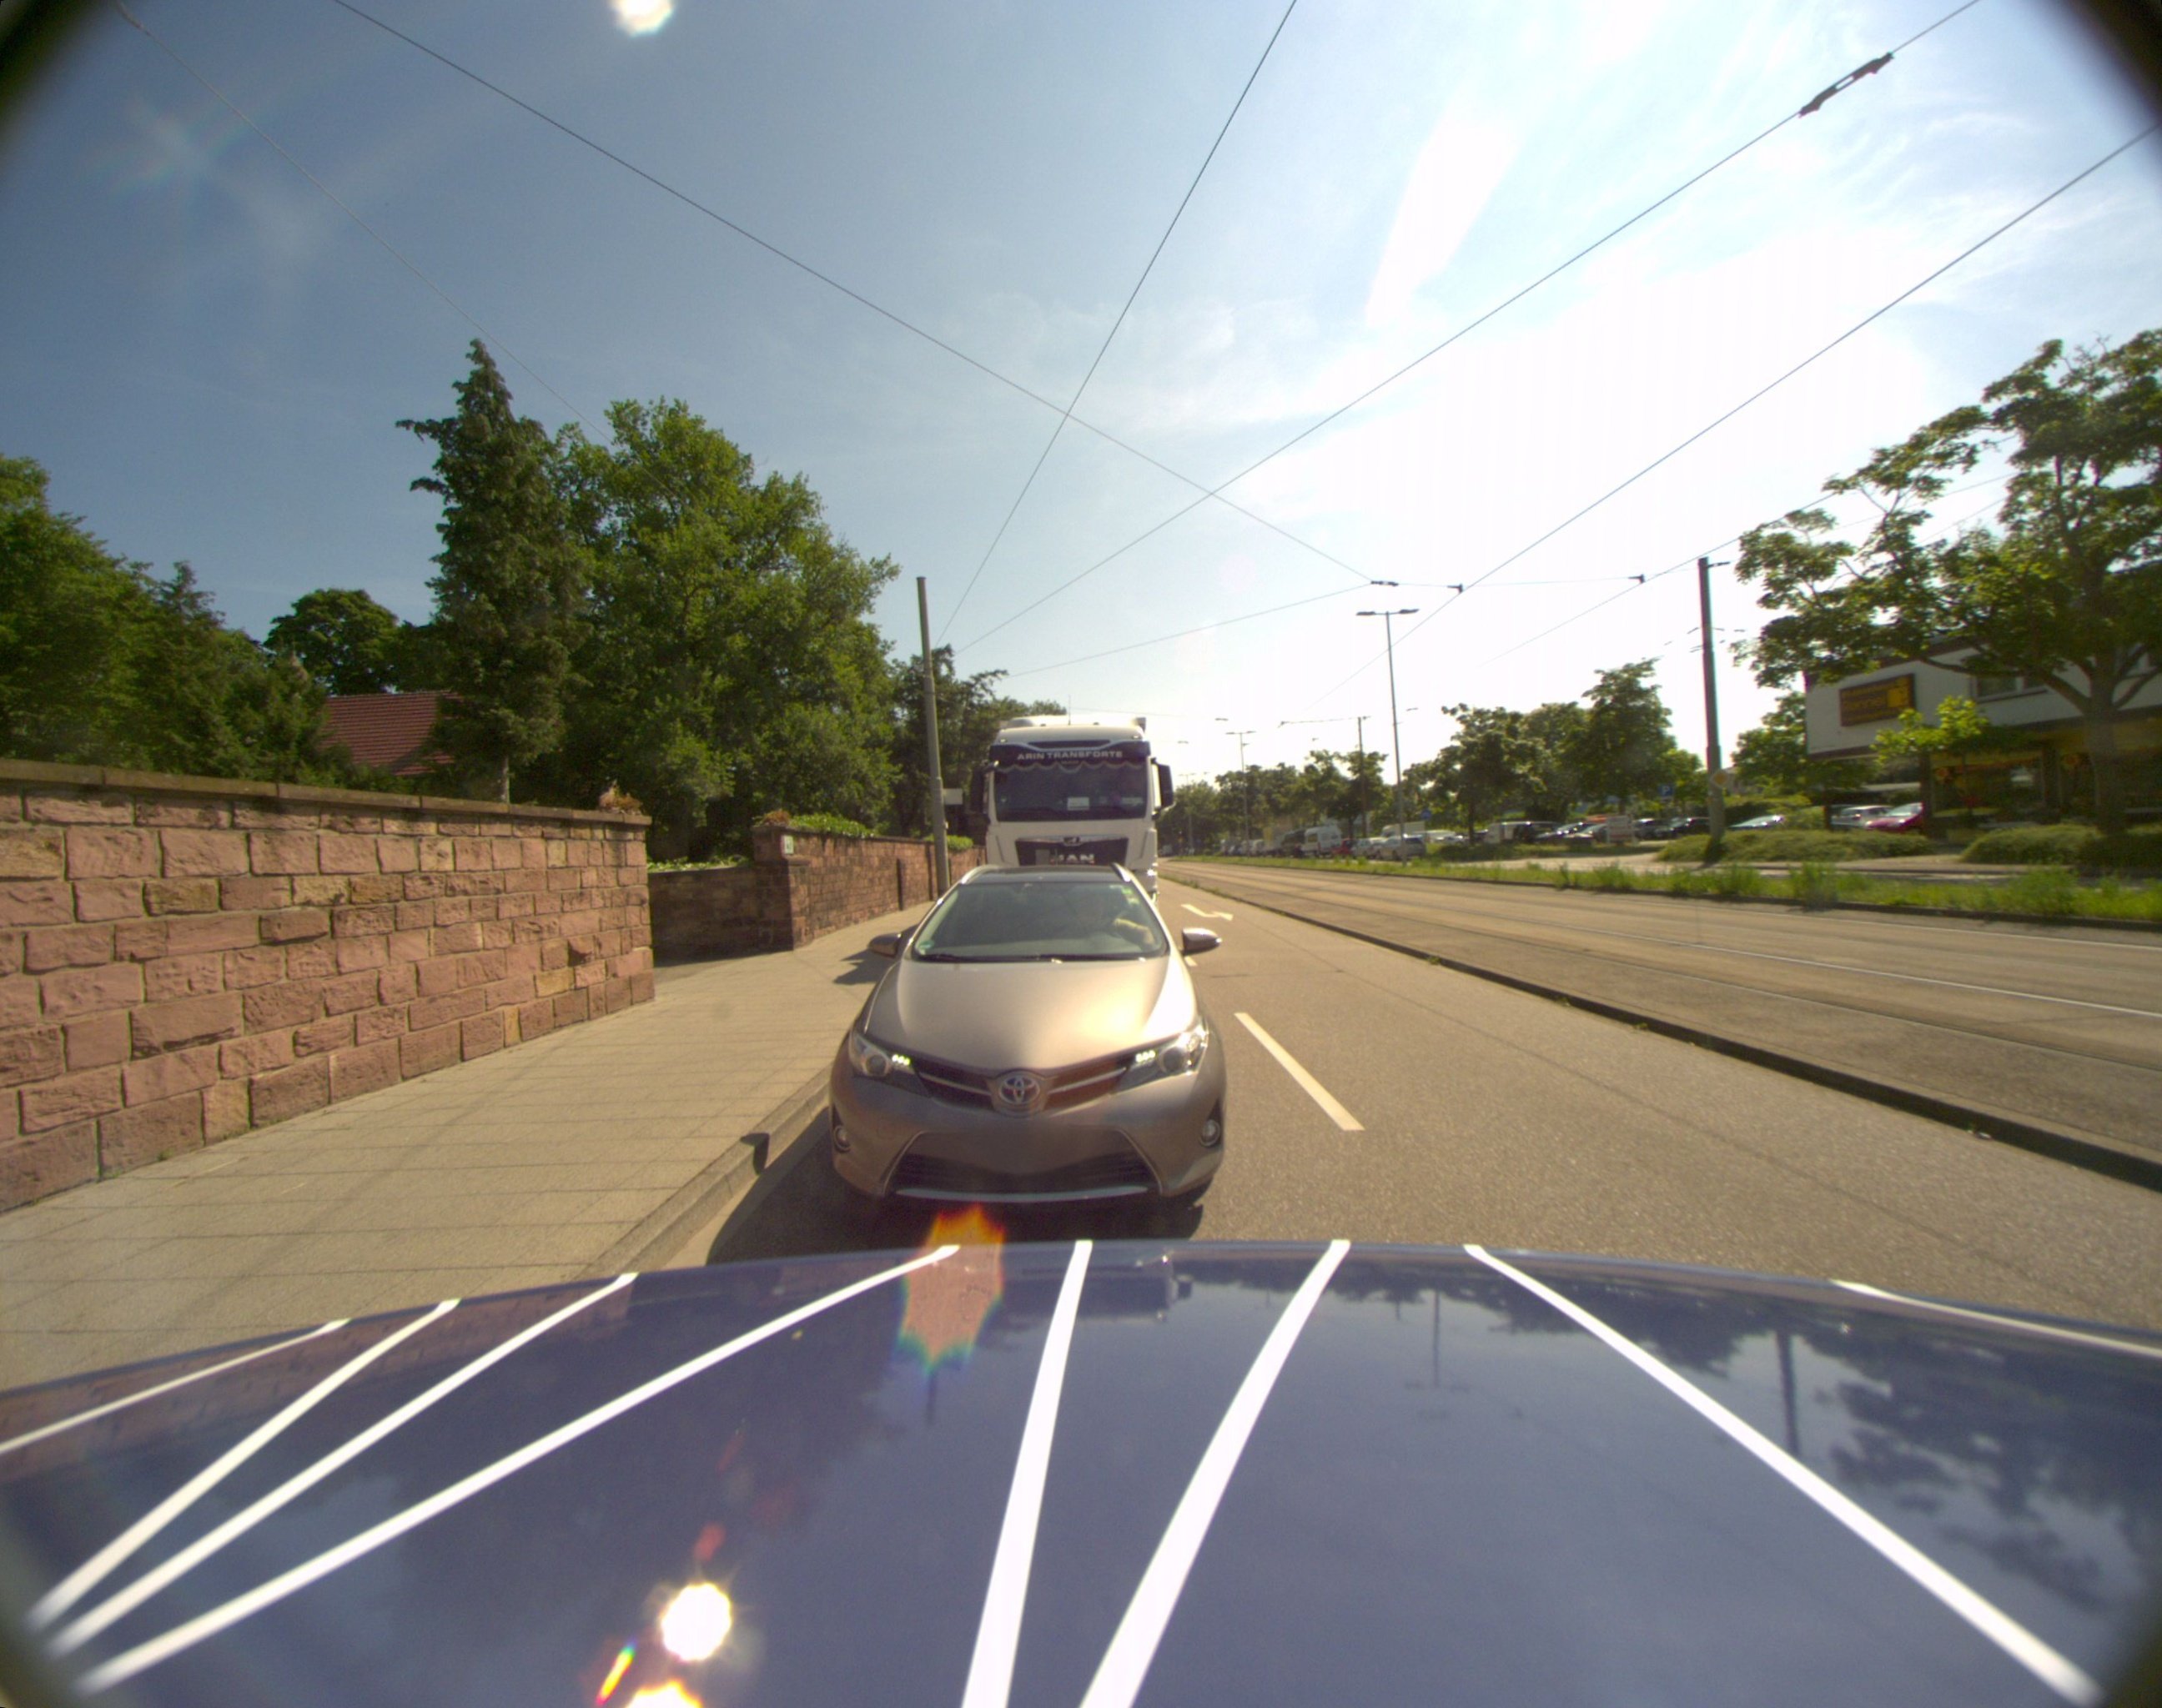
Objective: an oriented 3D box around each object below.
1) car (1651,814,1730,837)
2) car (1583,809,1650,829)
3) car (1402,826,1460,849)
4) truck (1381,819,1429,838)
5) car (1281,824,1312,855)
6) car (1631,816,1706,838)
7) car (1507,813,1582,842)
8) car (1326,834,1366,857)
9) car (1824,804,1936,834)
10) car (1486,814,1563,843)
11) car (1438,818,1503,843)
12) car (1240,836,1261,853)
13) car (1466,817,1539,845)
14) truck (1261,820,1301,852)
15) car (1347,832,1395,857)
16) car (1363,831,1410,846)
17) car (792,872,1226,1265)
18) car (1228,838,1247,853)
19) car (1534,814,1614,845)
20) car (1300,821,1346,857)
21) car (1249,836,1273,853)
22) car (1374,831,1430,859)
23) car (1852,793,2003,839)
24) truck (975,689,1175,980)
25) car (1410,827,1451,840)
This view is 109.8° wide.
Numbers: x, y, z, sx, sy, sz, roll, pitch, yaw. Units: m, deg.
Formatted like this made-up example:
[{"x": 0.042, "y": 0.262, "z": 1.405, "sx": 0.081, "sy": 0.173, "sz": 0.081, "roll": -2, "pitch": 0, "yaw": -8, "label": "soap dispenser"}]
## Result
[{"x": 44.008, "y": -2.052, "z": 54.897, "sx": 4.252, "sy": 1.327, "sz": 1.676, "roll": -3, "pitch": 0, "yaw": 2, "label": "car"}, {"x": 44.030, "y": -2.843, "z": 62.515, "sx": 4.254, "sy": 1.327, "sz": 1.676, "roll": -3, "pitch": 0, "yaw": -1, "label": "car"}, {"x": 31.162, "y": -1.396, "z": 67.879, "sx": 2.594, "sy": 1.800, "sz": 5.741, "roll": -3, "pitch": 0, "yaw": 2, "label": "car"}, {"x": 44.786, "y": -3.518, "z": 105.101, "sx": 5.652, "sy": 2.367, "sz": 1.990, "roll": -3, "pitch": 1, "yaw": -2, "label": "truck"}, {"x": 19.902, "y": -1.286, "z": 70.364, "sx": 1.502, "sy": 2.609, "sz": 4.007, "roll": -6, "pitch": 0, "yaw": 1, "label": "car"}, {"x": 44.344, "y": -2.031, "z": 57.372, "sx": 4.252, "sy": 1.327, "sz": 1.676, "roll": -3, "pitch": 0, "yaw": 2, "label": "car"}, {"x": 30.574, "y": -1.711, "z": 50.162, "sx": 3.810, "sy": 1.625, "sz": 1.676, "roll": -3, "pitch": 1, "yaw": 2, "label": "car"}, {"x": 20.472, "y": -0.646, "z": 58.754, "sx": 1.675, "sy": 1.524, "sz": 3.793, "roll": -6, "pitch": 0, "yaw": 1, "label": "car"}, {"x": 44.199, "y": -1.906, "z": 42.086, "sx": 4.252, "sy": 1.327, "sz": 1.676, "roll": -3, "pitch": 0, "yaw": 2, "label": "car"}, {"x": 30.689, "y": -1.766, "z": 52.667, "sx": 4.117, "sy": 1.728, "sz": 1.990, "roll": -3, "pitch": 1, "yaw": -2, "label": "car"}, {"x": 31.226, "y": -1.843, "z": 60.976, "sx": 4.117, "sy": 1.728, "sz": 1.990, "roll": -3, "pitch": 1, "yaw": -2, "label": "car"}, {"x": 20.958, "y": -1.140, "z": 94.218, "sx": 1.502, "sy": 1.835, "sz": 4.059, "roll": -6, "pitch": 0, "yaw": 0, "label": "car"}, {"x": 30.528, "y": -1.679, "z": 55.138, "sx": 4.117, "sy": 1.728, "sz": 1.990, "roll": -3, "pitch": 1, "yaw": -2, "label": "car"}, {"x": 20.628, "y": -1.802, "z": 78.769, "sx": 2.508, "sy": 2.917, "sz": 5.903, "roll": -6, "pitch": 0, "yaw": 2, "label": "truck"}, {"x": 20.441, "y": -0.623, "z": 53.656, "sx": 1.675, "sy": 1.524, "sz": 4.256, "roll": -6, "pitch": 0, "yaw": 1, "label": "car"}, {"x": 32.309, "y": -1.588, "z": 80.396, "sx": 4.253, "sy": 1.327, "sz": 1.676, "roll": -3, "pitch": 0, "yaw": 1, "label": "car"}, {"x": -0.262, "y": 0.893, "z": 4.973, "sx": 1.654, "sy": 1.374, "sz": 4.000, "roll": -2, "pitch": 0, "yaw": 0, "label": "car"}, {"x": 20.613, "y": -1.083, "z": 100.070, "sx": 1.502, "sy": 1.775, "sz": 3.687, "roll": -6, "pitch": 0, "yaw": 0, "label": "car"}, {"x": 30.515, "y": -1.501, "z": 47.116, "sx": 3.810, "sy": 1.625, "sz": 1.676, "roll": -3, "pitch": 1, "yaw": 2, "label": "car"}, {"x": 20.276, "y": -1.221, "z": 63.988, "sx": 2.062, "sy": 2.638, "sz": 5.203, "roll": -6, "pitch": 0, "yaw": 1, "label": "car"}, {"x": 20.646, "y": -1.045, "z": 87.350, "sx": 1.502, "sy": 1.793, "sz": 4.633, "roll": -6, "pitch": 0, "yaw": 1, "label": "car"}, {"x": 20.283, "y": -0.532, "z": 48.168, "sx": 1.675, "sy": 1.524, "sz": 4.256, "roll": -6, "pitch": 0, "yaw": 1, "label": "car"}, {"x": 35.263, "y": -1.543, "z": 31.728, "sx": 4.252, "sy": 1.595, "sz": 1.676, "roll": -3, "pitch": 1, "yaw": 2, "label": "car"}, {"x": 0.013, "y": -0.314, "z": 15.039, "sx": 2.628, "sy": 3.906, "sz": 9.285, "roll": -2, "pitch": 1, "yaw": 1, "label": "truck"}, {"x": 43.728, "y": -2.616, "z": 95.109, "sx": 4.253, "sy": 1.327, "sz": 1.676, "roll": -3, "pitch": 0, "yaw": 1, "label": "car"}]
